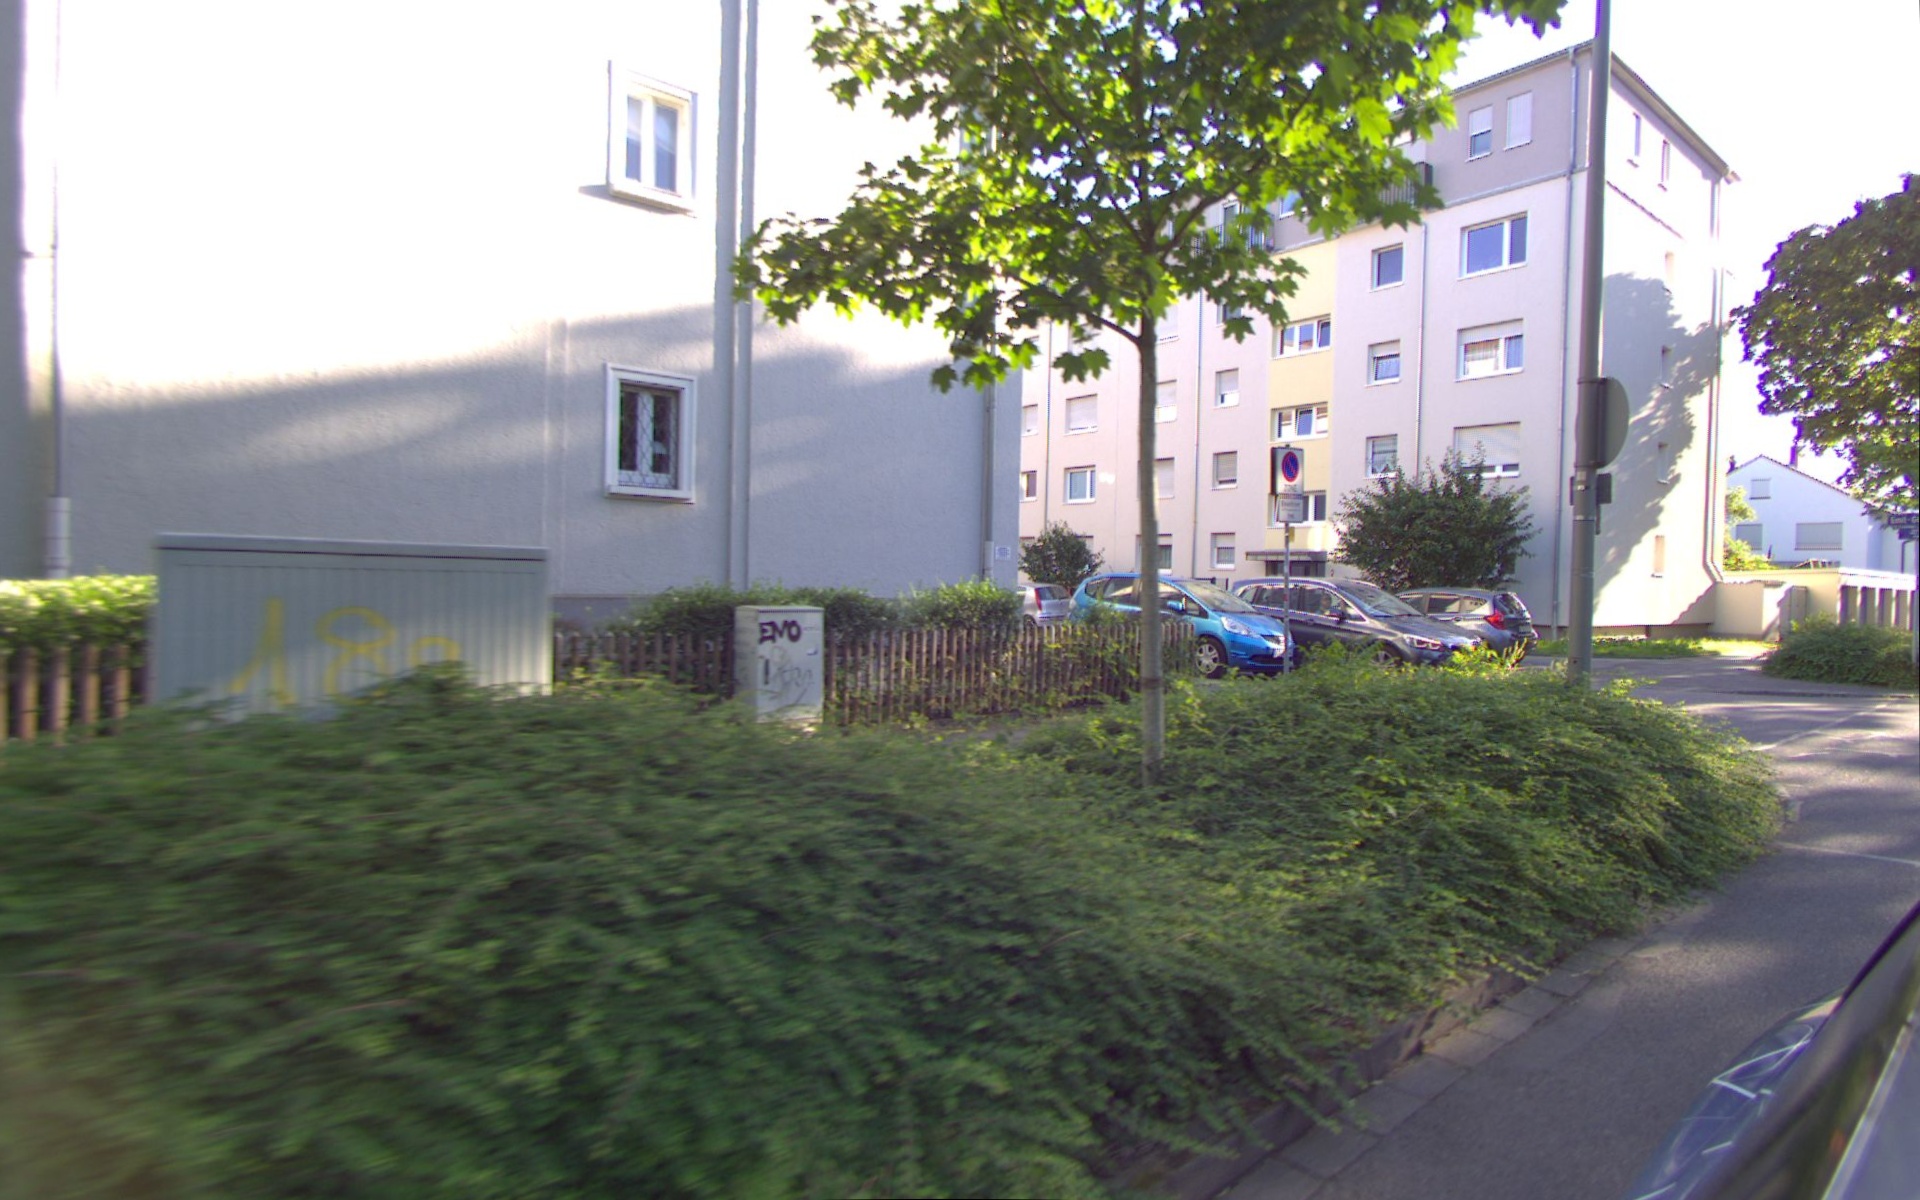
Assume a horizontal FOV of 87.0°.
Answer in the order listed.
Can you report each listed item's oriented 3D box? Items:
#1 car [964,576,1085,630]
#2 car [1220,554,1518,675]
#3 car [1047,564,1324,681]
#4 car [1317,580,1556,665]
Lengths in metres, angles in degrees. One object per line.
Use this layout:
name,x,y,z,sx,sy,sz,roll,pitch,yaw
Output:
car,1.869,0.086,30.124,1.718,1.512,3.499,0,0,-39
car,6.406,0.208,16.366,1.734,1.695,4.281,0,0,-32
car,3.448,0.271,16.032,1.778,1.601,3.994,2,0,-41
car,9.522,0.362,20.479,1.696,1.533,4.049,-1,2,-40
